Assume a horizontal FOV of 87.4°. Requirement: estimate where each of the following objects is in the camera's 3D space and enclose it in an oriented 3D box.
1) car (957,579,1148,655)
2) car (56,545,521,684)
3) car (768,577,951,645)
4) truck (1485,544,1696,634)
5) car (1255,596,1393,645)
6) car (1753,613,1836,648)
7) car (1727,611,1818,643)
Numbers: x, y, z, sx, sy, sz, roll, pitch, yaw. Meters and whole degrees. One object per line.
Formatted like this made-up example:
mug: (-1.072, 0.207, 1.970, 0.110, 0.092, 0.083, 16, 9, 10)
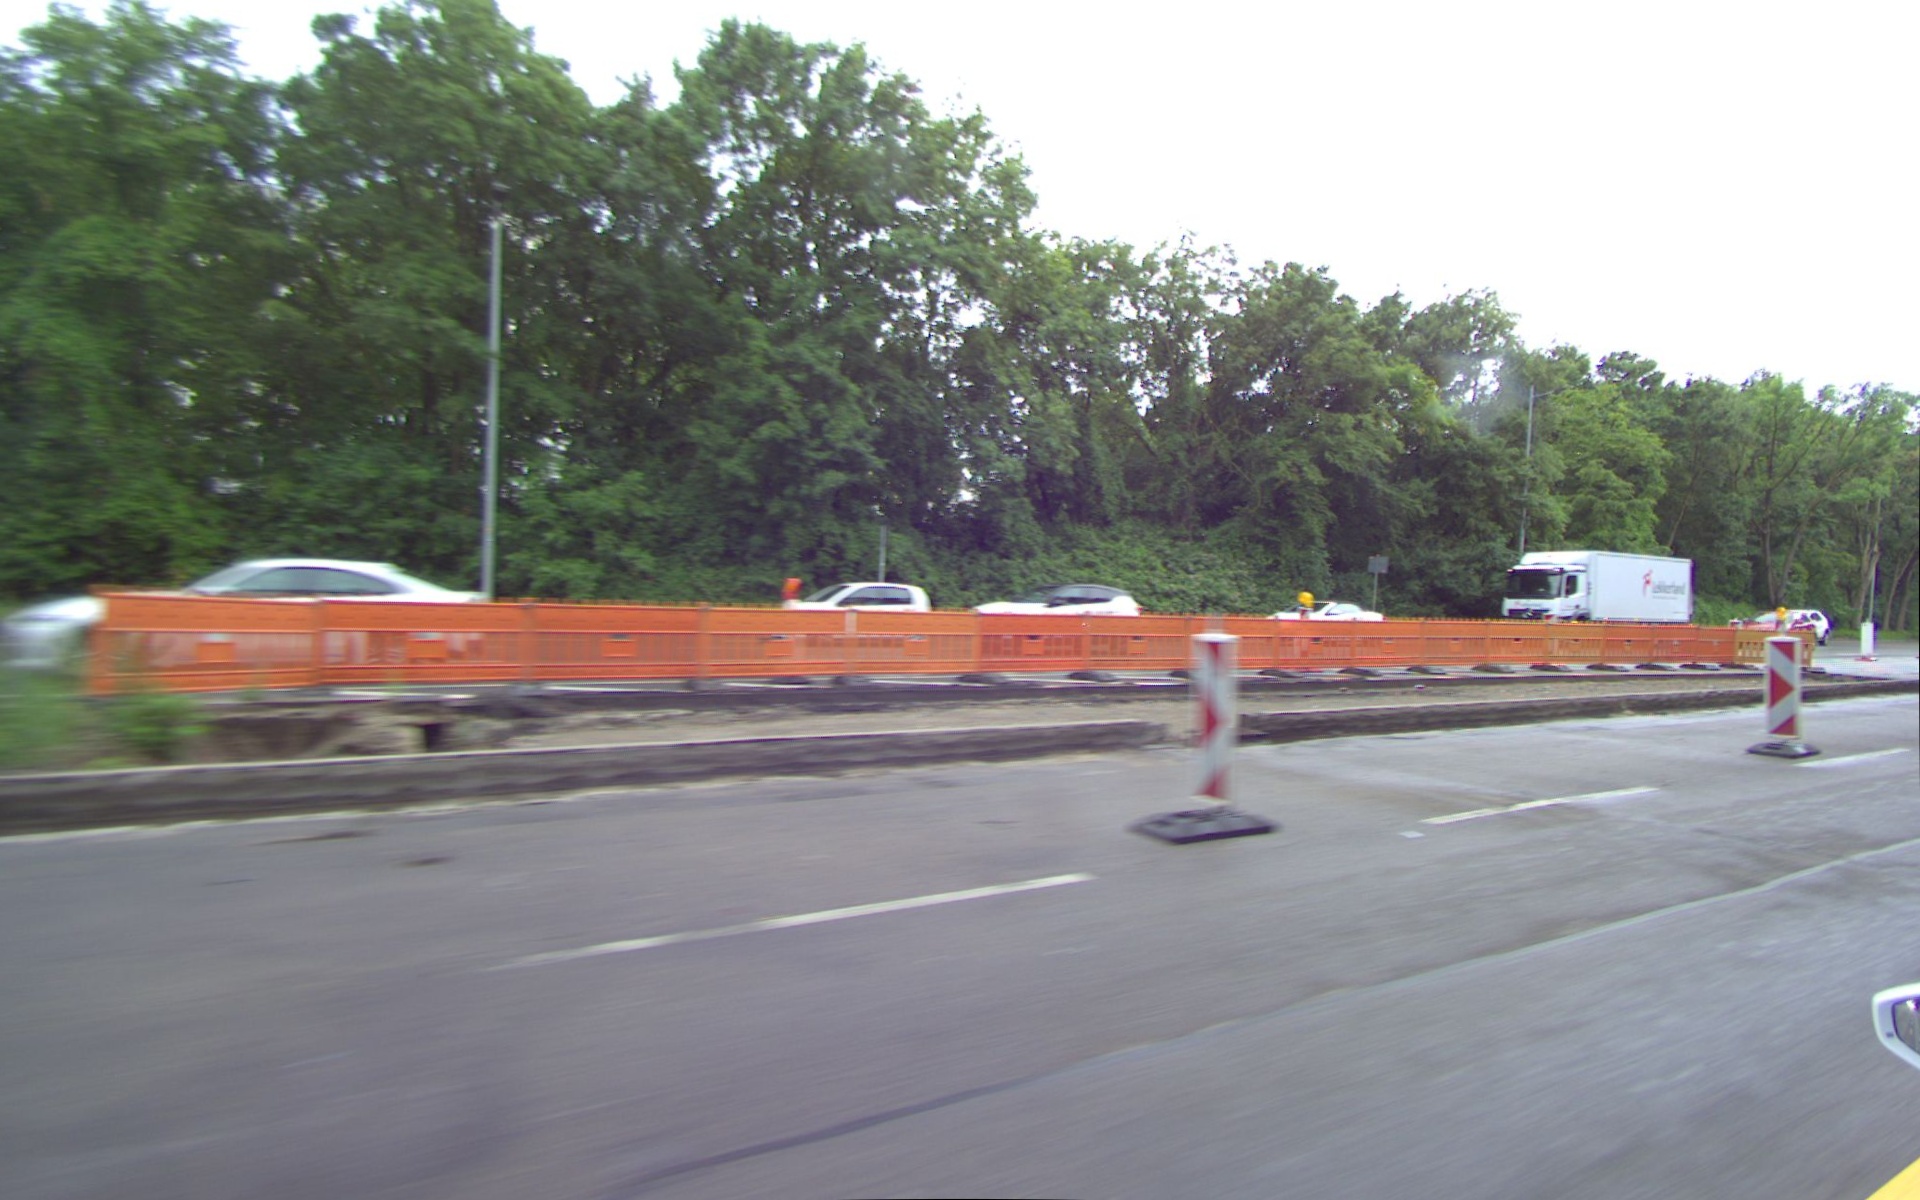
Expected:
car: (2.133, 0.395, 22.847, 3.993, 1.571, 1.826, 2, 1, -31)
car: (-8.228, 0.175, 12.843, 4.623, 1.506, 1.847, 1, 1, -30)
car: (-2.319, 0.264, 23.432, 3.851, 1.444, 1.782, 2, 1, -31)
truck: (25.335, -0.360, 40.137, 10.030, 3.190, 2.781, 2, 1, -31)
car: (11.578, 0.660, 31.885, 4.318, 1.397, 1.801, 2, 1, -31)
car: (42.507, 1.570, 51.147, 4.665, 1.746, 1.835, 2, -2, -31)
car: (34.389, 1.148, 42.490, 4.233, 1.168, 1.597, 2, 1, -31)
